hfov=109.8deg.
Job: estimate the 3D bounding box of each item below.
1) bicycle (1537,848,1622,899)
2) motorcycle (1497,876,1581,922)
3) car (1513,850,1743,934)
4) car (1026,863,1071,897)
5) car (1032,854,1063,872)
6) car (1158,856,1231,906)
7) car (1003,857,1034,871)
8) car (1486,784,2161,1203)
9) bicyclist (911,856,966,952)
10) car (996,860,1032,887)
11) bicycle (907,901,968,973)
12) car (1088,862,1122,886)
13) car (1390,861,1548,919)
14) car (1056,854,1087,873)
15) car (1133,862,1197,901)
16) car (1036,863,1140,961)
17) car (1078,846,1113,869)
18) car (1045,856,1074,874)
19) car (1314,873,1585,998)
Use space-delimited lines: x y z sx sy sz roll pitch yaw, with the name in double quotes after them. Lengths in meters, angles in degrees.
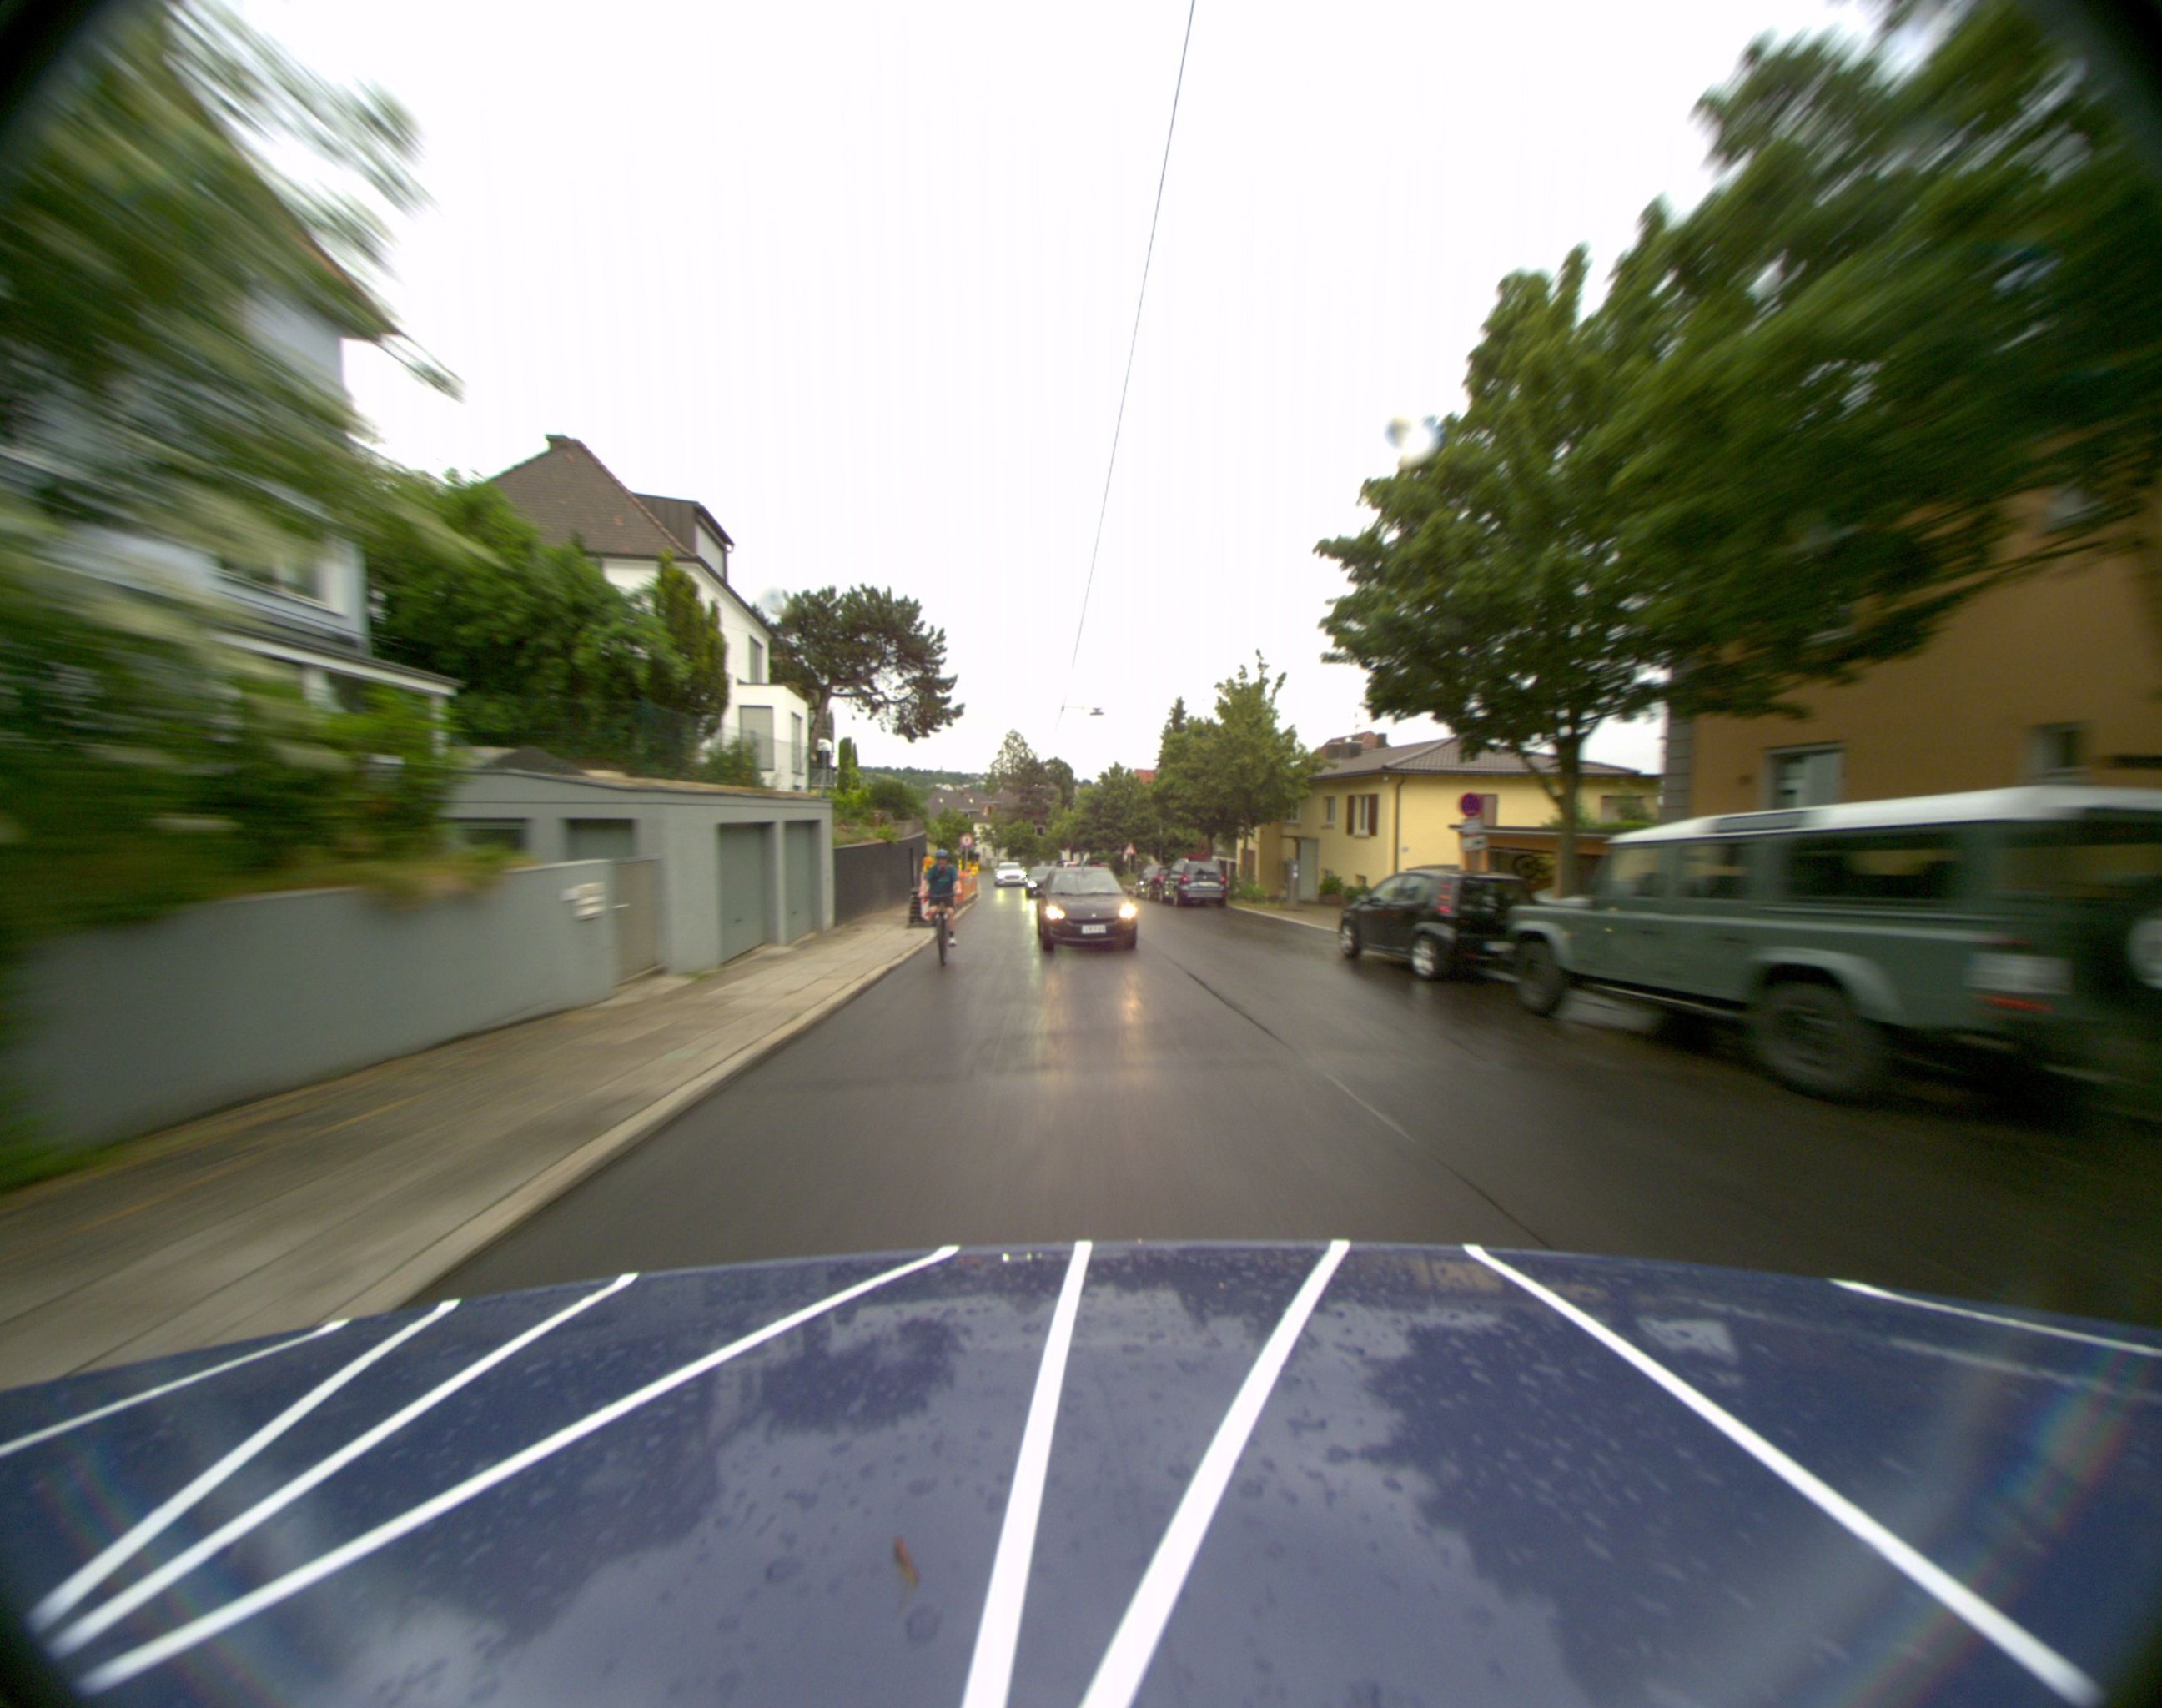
13.622 0.526 20.794 1.763 0.932 0.626 15 -1 -3 "bicycle"
12.374 1.218 20.555 1.906 1.161 0.577 1 3 -2 "motorcycle"
13.636 0.913 19.123 4.392 1.881 1.847 0 5 -2 "car"
-1.580 1.188 35.905 1.844 1.395 4.068 -2 1 -6 "car"
-3.378 0.870 75.176 1.874 1.536 4.897 -3 1 -17 "car"
4.077 0.930 27.979 1.773 1.624 4.108 3 -1 -4 "car"
-6.973 1.059 84.496 1.678 1.457 3.885 -2 1 -34 "car"
5.579 0.748 6.143 1.796 2.037 4.781 2 -1 -3 "car"
-2.270 0.772 12.226 0.727 1.463 0.886 -1 0 -3 "bicyclist"
-4.782 1.354 53.356 2.002 1.699 4.569 -2 1 -11 "car"
-2.252 1.281 12.123 0.732 0.959 1.670 -1 0 -3 "bicycle"
1.594 1.326 51.680 1.687 1.463 3.862 -1 0 -8 "car"
12.134 1.097 23.937 4.065 1.636 1.862 -1 1 -4 "car"
-0.857 0.789 64.322 1.740 1.458 3.995 -3 1 -14 "car"
3.564 1.144 33.117 1.774 1.526 4.602 1 0 -7 "car"
0.007 0.988 14.939 1.674 1.457 4.714 -2 1 -3 "car"
1.055 0.215 56.978 1.807 1.659 4.422 -1 0 -10 "car"
-2.024 0.991 70.175 1.740 1.536 4.204 -3 1 -14 "car"
5.251 1.072 11.590 1.773 1.428 4.345 1 0 -4 "car"
